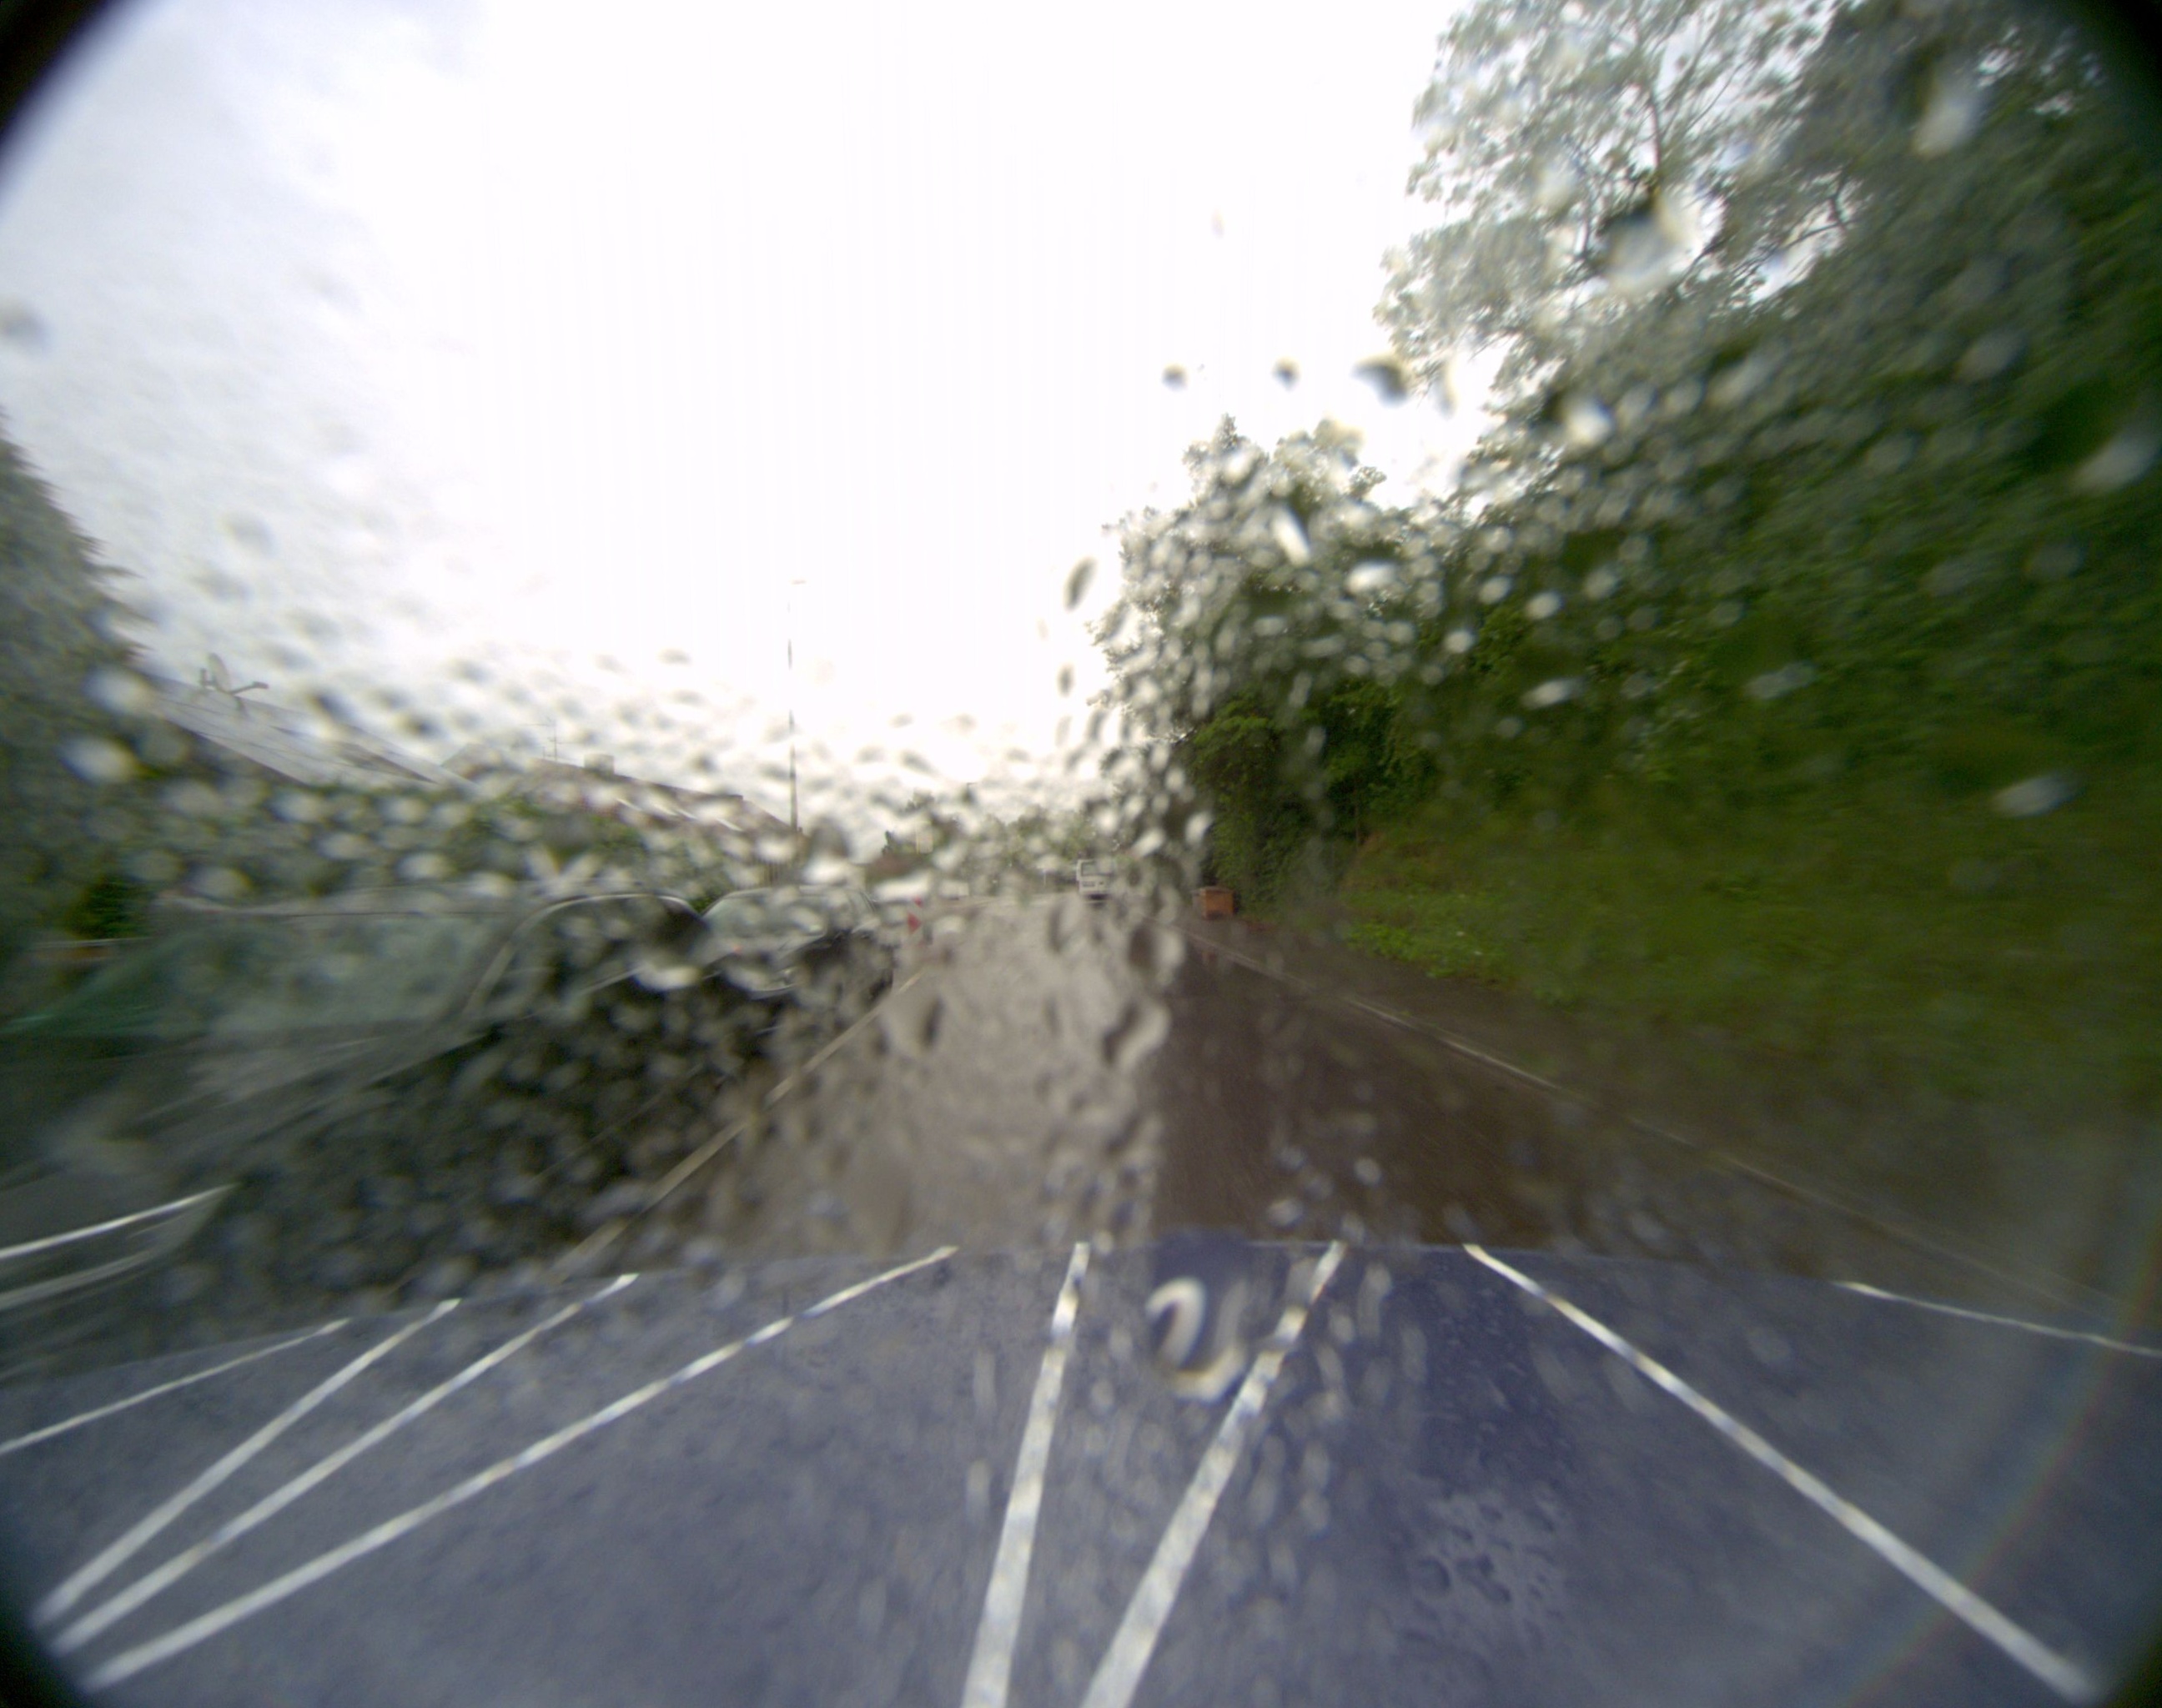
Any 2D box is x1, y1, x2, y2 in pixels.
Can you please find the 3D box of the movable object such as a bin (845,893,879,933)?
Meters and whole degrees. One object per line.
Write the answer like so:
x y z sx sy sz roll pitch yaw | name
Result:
-5.970 1.602 20.742 0.740 1.082 0.600 0 -1 0 | movable object such as a bin

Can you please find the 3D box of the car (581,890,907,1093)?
-3.237 1.216 8.351 1.760 1.453 4.301 -3 -1 -3 | car

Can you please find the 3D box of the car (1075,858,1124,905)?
0.848 1.252 35.663 2.116 1.962 5.174 -2 -1 1 | car

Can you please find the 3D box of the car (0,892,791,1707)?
-2.993 1.056 3.291 1.880 1.582 4.479 -2 -1 -3 | car

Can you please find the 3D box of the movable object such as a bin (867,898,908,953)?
-4.109 1.511 16.194 0.717 1.089 0.656 -3 -1 -7 | movable object such as a bin

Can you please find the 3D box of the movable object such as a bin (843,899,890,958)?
-4.228 1.458 15.041 0.731 1.072 0.661 -3 -1 -4 | movable object such as a bin

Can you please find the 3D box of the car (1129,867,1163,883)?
6.593 2.079 76.809 1.796 1.460 4.224 -3 -1 30 | car

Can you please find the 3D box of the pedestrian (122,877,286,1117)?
-6.311 0.988 5.492 0.537 1.623 0.506 -3 -1 -4 | pedestrian
